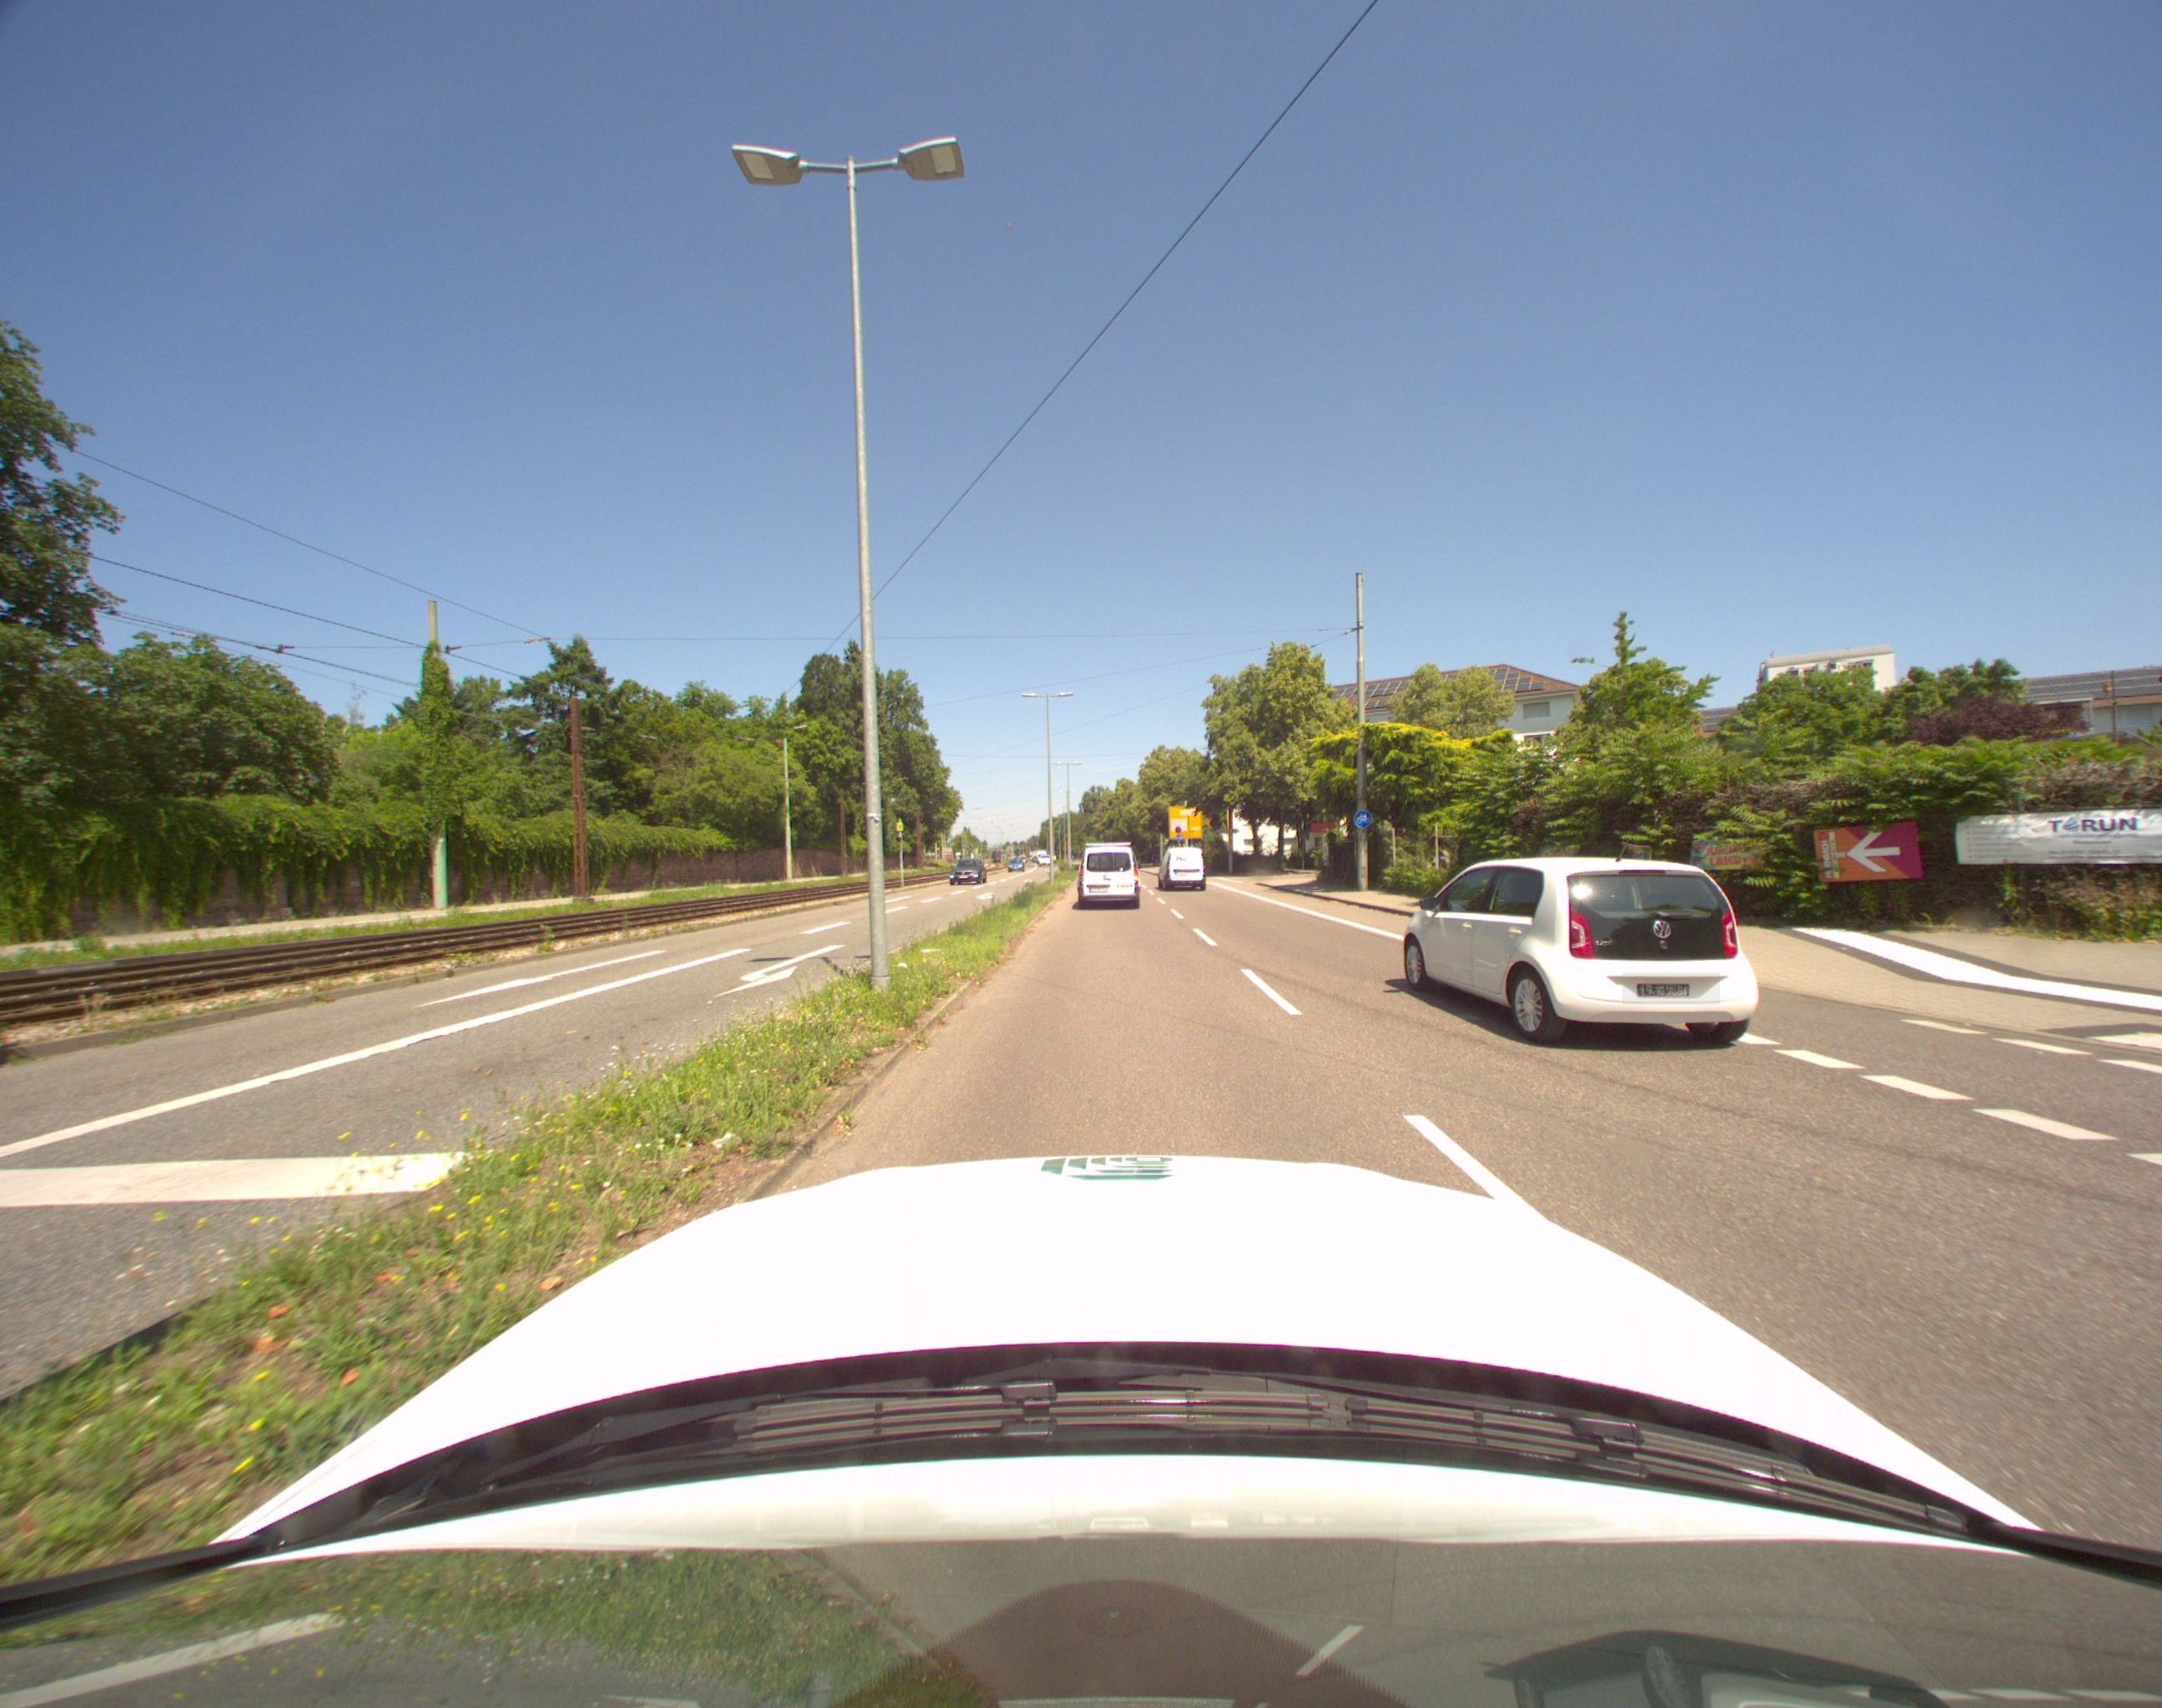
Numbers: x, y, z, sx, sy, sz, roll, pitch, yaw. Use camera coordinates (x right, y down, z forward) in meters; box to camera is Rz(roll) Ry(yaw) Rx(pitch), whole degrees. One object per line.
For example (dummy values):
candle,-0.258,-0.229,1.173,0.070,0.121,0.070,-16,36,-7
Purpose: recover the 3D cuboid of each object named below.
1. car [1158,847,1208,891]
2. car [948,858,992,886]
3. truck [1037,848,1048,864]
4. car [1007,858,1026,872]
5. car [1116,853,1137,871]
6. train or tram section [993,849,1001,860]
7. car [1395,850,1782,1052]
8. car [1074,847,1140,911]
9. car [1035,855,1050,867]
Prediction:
car,4.322,0.603,34.954,1.721,1.788,4.065,0,0,1
car,-6.585,1.041,48.656,1.689,1.512,4.072,-2,0,5
truck,-8.212,0.404,173.440,1.986,3.213,5.313,-1,0,1
car,-6.839,1.142,86.474,1.692,1.439,3.999,-2,0,0
car,4.148,0.725,74.998,1.828,1.568,4.003,0,1,2
train or tram section,-24.742,0.153,239.890,1.992,3.086,16.126,0,0,-7
car,4.362,0.698,7.664,1.603,1.447,3.437,0,1,2
car,0.808,0.674,24.550,1.814,1.739,4.399,0,0,2
car,-5.957,1.024,127.463,1.986,1.816,4.001,-1,0,1
